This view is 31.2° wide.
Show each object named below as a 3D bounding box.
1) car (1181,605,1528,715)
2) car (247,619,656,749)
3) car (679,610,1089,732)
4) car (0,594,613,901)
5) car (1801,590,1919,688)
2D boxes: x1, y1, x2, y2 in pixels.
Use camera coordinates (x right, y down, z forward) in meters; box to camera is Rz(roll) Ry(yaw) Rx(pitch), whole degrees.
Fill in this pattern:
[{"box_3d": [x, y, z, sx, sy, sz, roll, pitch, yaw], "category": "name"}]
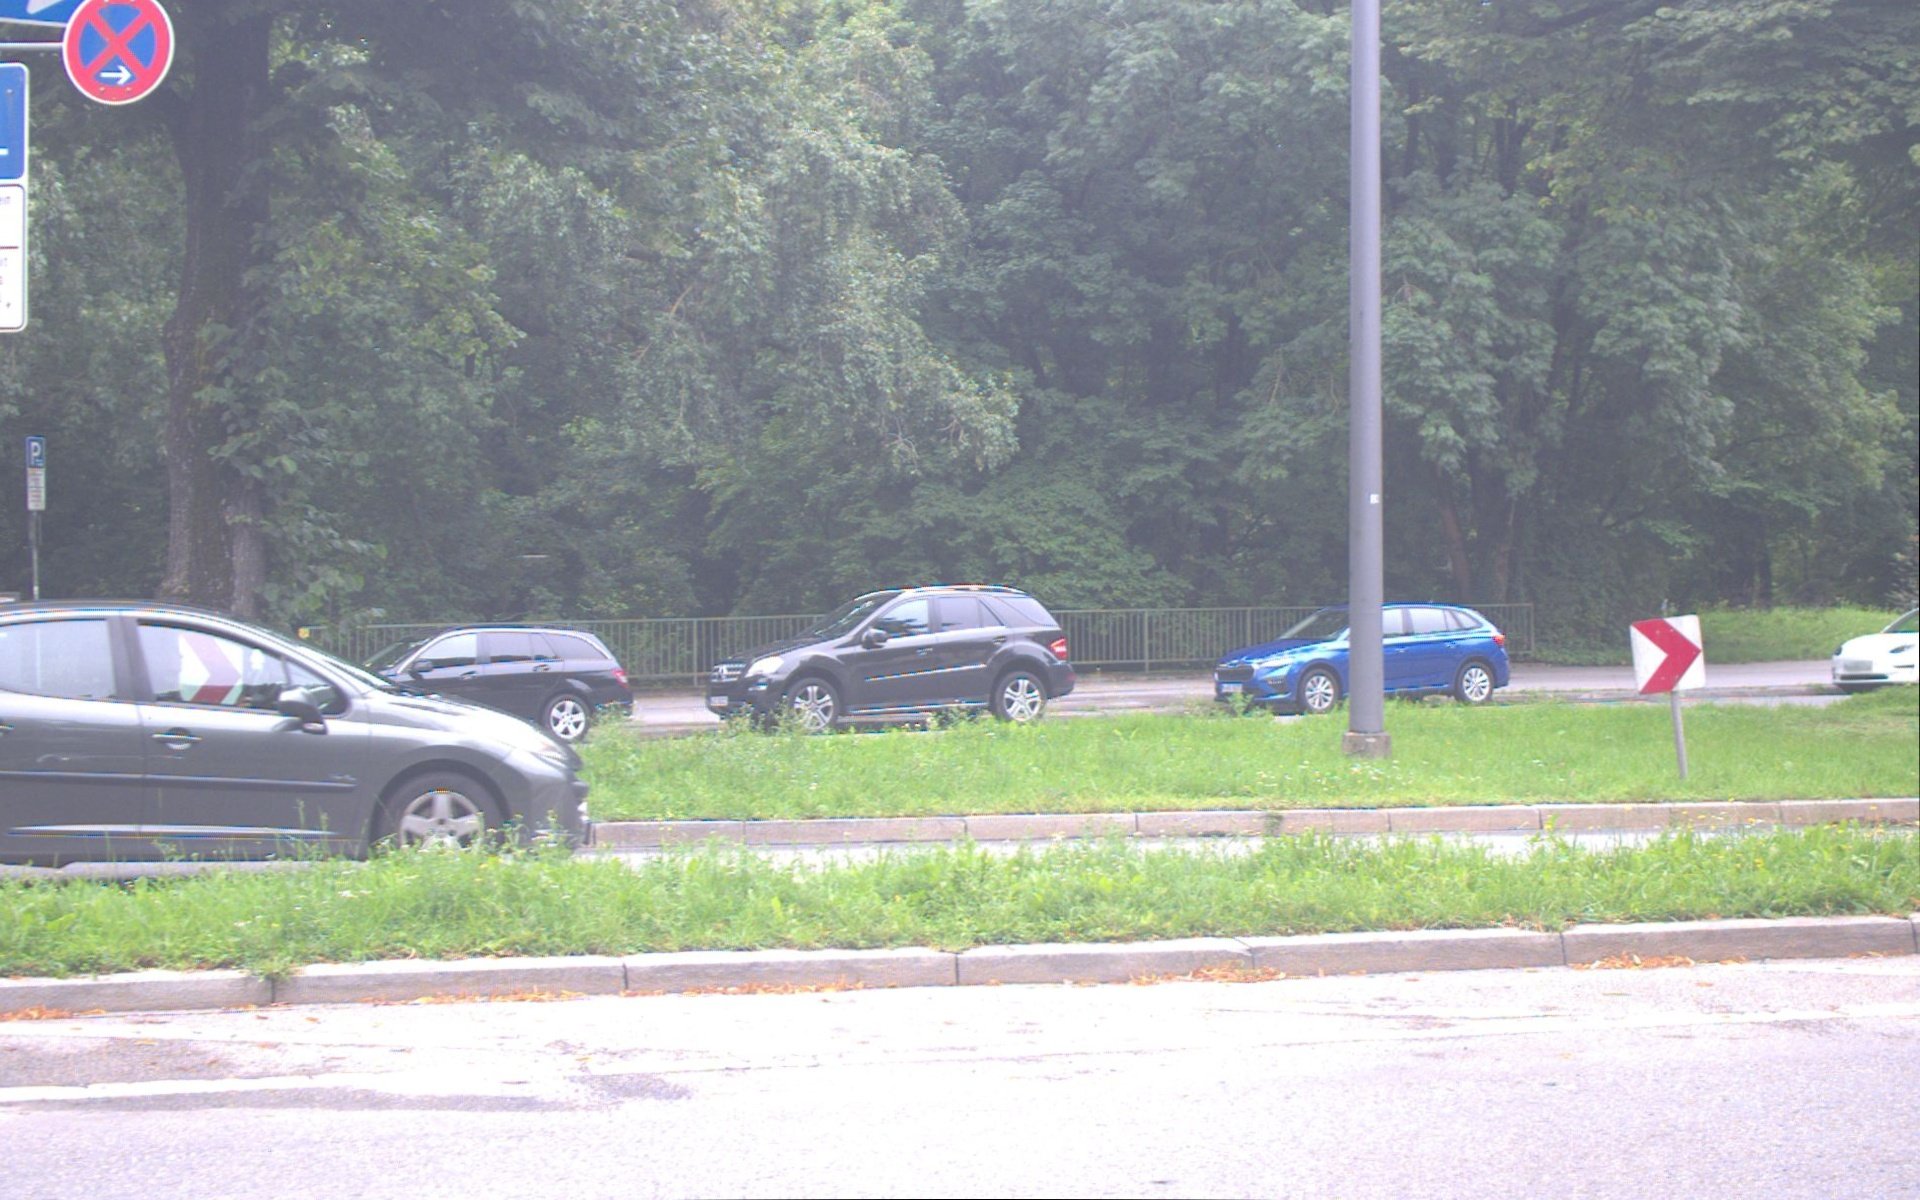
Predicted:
[{"box_3d": [5.406, 0.803, 47.011, 4.409, 1.442, 2.000, 0, -1, -31], "category": "car"}, {"box_3d": [-5.948, 0.959, 40.294, 4.303, 1.442, 2.000, 0, -1, -30], "category": "car"}, {"box_3d": [-0.936, 0.868, 43.040, 4.752, 1.442, 2.000, 0, -1, -30], "category": "car"}, {"box_3d": [-3.913, 0.702, 17.421, 4.059, 1.456, 1.765, 0, 0, -15], "category": "car"}, {"box_3d": [15.190, 0.597, 52.505, 4.409, 1.442, 2.000, 0, -1, -31], "category": "car"}]
